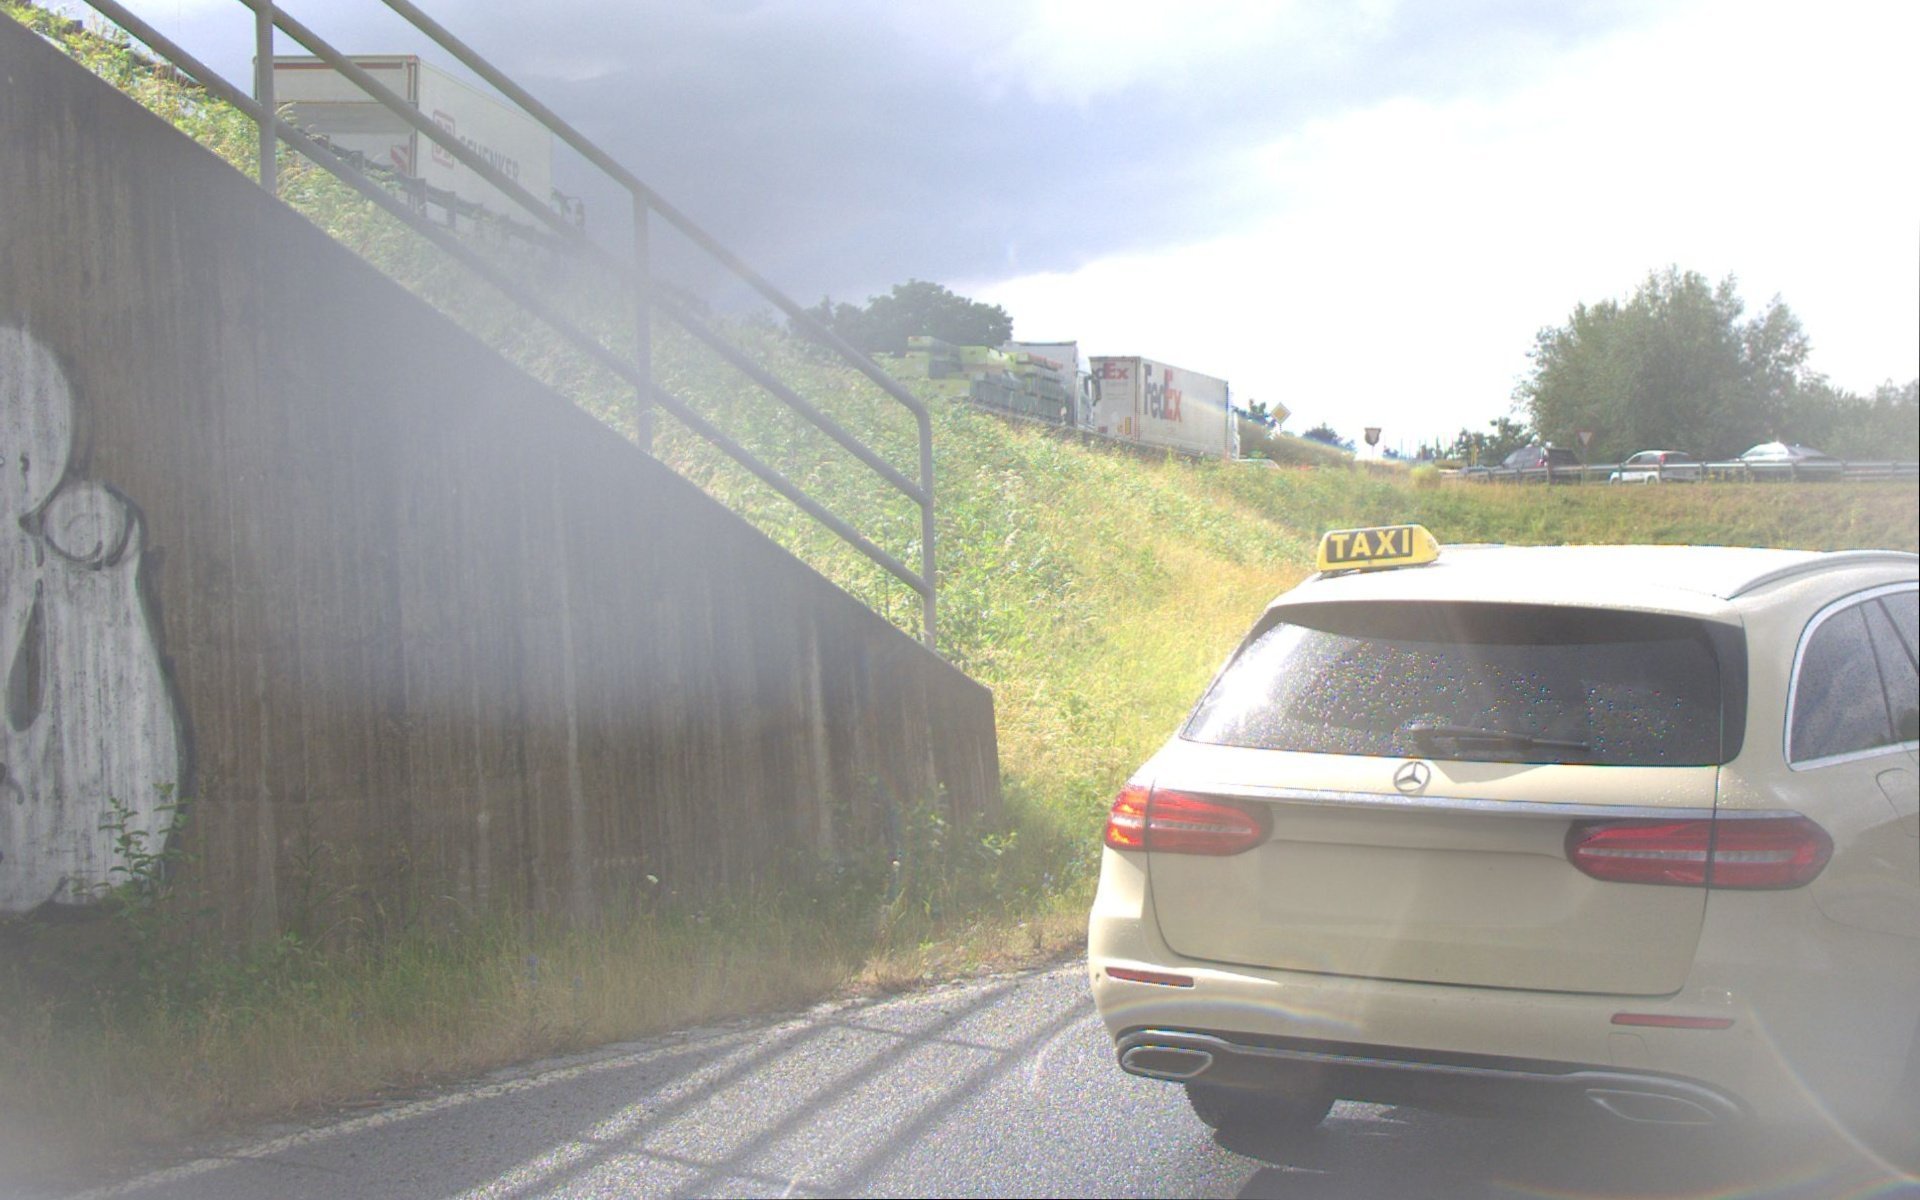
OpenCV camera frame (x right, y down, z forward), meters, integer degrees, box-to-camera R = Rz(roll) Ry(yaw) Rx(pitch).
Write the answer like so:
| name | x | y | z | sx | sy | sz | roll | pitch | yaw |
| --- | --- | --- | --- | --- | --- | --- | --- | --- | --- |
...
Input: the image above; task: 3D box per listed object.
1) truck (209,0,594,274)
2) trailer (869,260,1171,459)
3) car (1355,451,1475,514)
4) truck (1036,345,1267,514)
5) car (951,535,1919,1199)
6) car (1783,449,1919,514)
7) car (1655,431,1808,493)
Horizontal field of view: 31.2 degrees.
| name | x | y | z | sx | sy | sz | roll | pitch | yaw |
| --- | --- | --- | --- | --- | --- | --- | --- | --- | --- |
| truck | -8.530 | -7.659 | 54.005 | 3.181 | 3.953 | 9.232 | 0 | -1 | 9 |
| trailer | 2.184 | -6.811 | 101.611 | 4.416 | 3.942 | 20.203 | 0 | -1 | 14 |
| car | 15.433 | -3.976 | 116.448 | 3.988 | 2.007 | 1.826 | 0 | -1 | 9 |
| truck | 7.009 | -5.731 | 120.467 | 4.463 | 4.488 | 19.362 | 0 | -1 | 14 |
| car | 1.947 | 0.591 | 9.034 | 1.919 | 1.502 | 4.589 | 0 | 1 | 29 |
| car | 28.870 | -3.775 | 109.980 | 4.506 | 1.855 | 1.995 | -1 | 0 | 40 |
| car | 26.277 | -4.685 | 117.263 | 1.994 | 1.855 | 5.056 | -1 | 0 | -34 |
